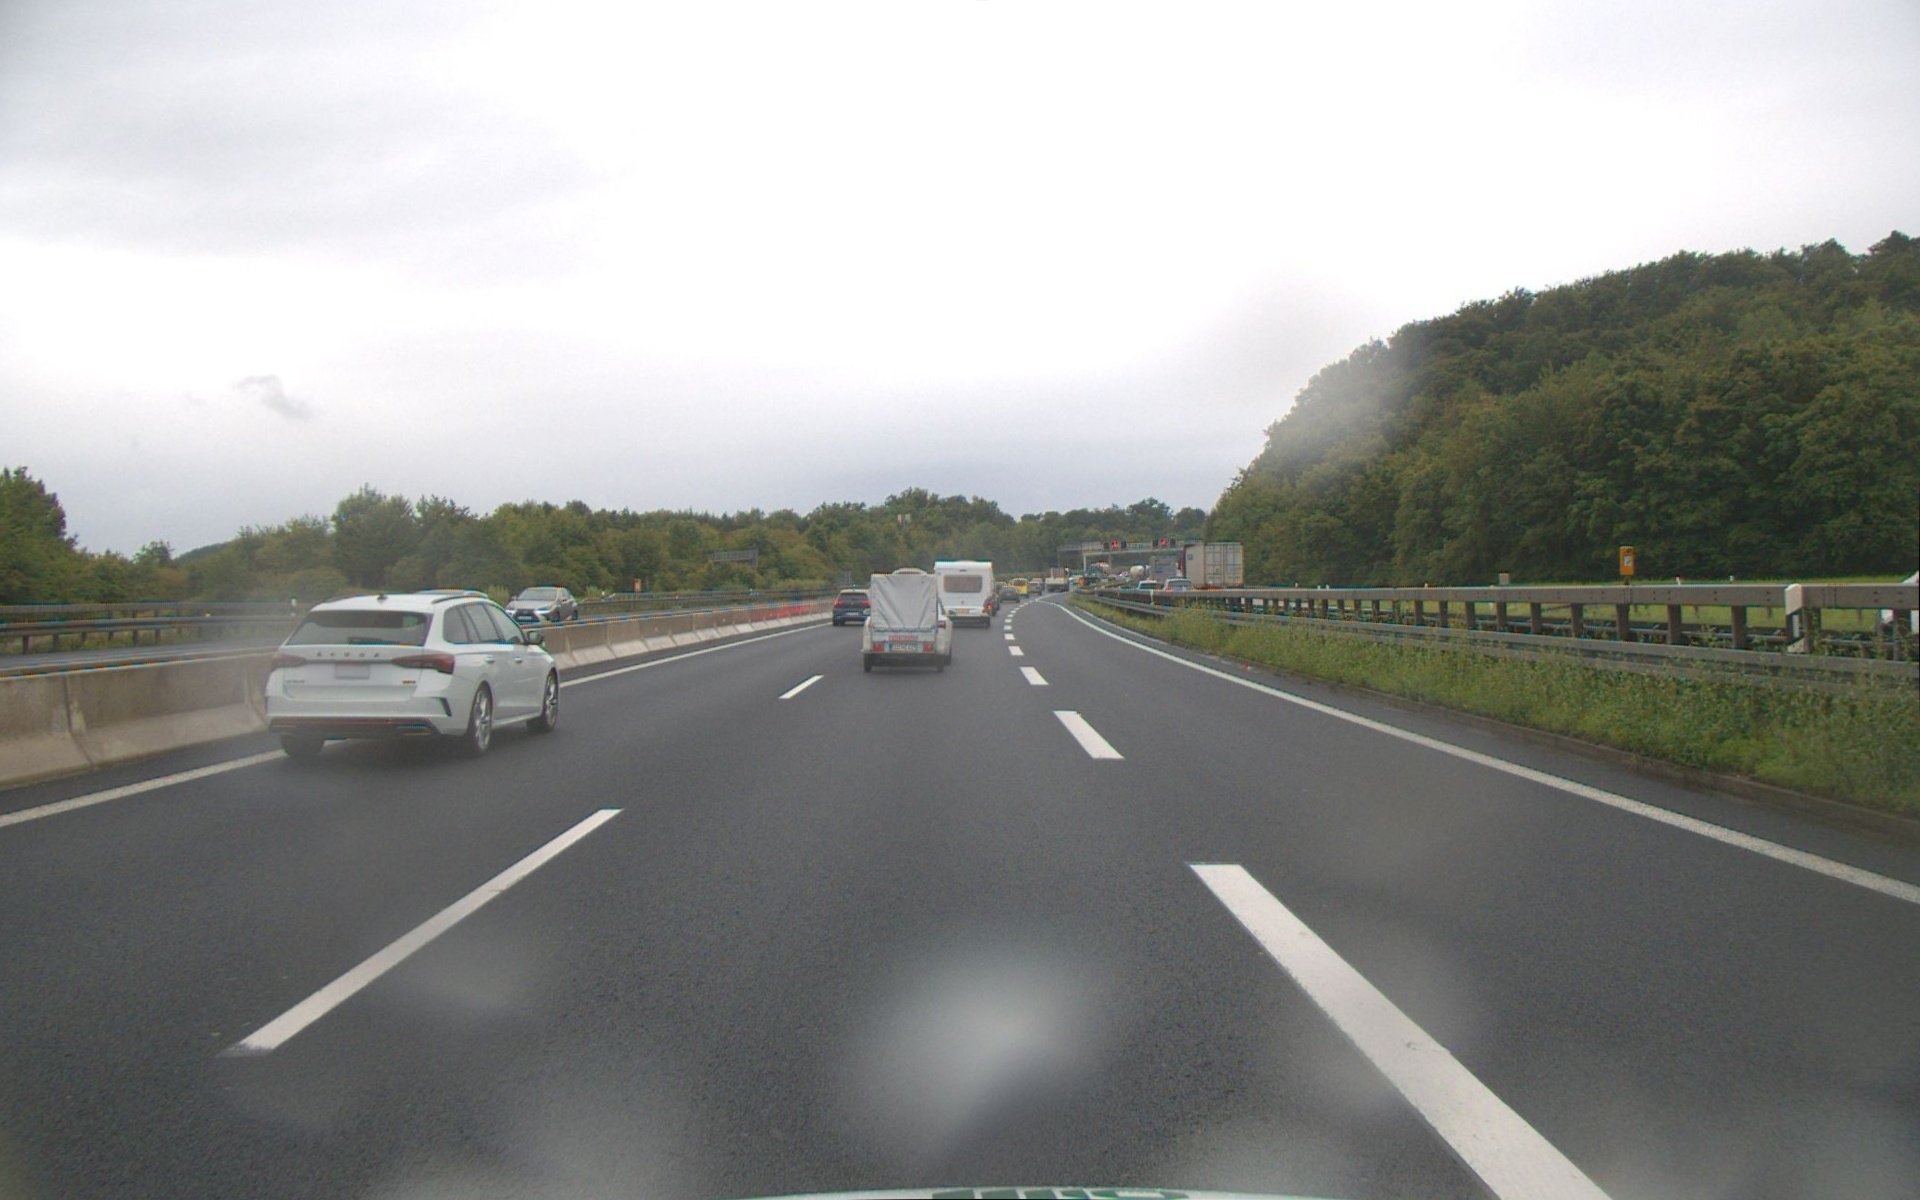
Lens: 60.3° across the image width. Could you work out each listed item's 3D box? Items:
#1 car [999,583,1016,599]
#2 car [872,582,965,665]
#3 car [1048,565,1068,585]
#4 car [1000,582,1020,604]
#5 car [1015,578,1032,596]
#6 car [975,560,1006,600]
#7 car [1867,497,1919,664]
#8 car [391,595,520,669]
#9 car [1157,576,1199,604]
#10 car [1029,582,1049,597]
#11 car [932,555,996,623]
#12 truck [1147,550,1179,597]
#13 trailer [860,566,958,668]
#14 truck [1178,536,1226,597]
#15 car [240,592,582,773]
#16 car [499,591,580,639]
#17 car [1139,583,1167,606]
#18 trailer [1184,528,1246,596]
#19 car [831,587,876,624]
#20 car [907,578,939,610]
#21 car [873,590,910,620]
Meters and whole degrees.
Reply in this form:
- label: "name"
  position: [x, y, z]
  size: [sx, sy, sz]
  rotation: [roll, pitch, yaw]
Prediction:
- label: "car"
  position: [6.306, -1.157, 218.686]
  size: [1.951, 2.049, 4.002]
  rotation: [-1, 0, 5]
- label: "car"
  position: [-0.829, 0.475, 35.632]
  size: [1.781, 1.644, 4.778]
  rotation: [-1, 0, 1]
- label: "car"
  position: [13.571, -3.470, 228.931]
  size: [2.462, 2.620, 5.315]
  rotation: [-1, 0, 6]
- label: "car"
  position: [4.347, -0.560, 143.259]
  size: [1.641, 1.844, 4.001]
  rotation: [-1, 0, 2]
- label: "car"
  position: [6.585, -1.314, 172.067]
  size: [1.641, 1.844, 4.002]
  rotation: [-1, 0, 3]
- label: "car"
  position: [1.692, -1.084, 90.252]
  size: [1.641, 2.103, 4.001]
  rotation: [-1, 0, 1]
- label: "car"
  position: [10.881, -0.189, 15.703]
  size: [1.870, 1.723, 4.718]
  rotation: [-1, 1, -1]
- label: "car"
  position: [-12.658, 0.778, 41.795]
  size: [1.953, 1.741, 4.302]
  rotation: [-1, 0, 0]
- label: "car"
  position: [11.759, -0.544, 89.327]
  size: [1.633, 1.407, 4.125]
  rotation: [-3, 0, 0]
- label: "car"
  position: [9.257, -1.207, 193.777]
  size: [1.994, 1.712, 4.003]
  rotation: [-1, 0, 7]
- label: "car"
  position: [0.178, -0.418, 66.927]
  size: [2.456, 2.630, 5.699]
  rotation: [-1, 0, 0]
- label: "truck"
  position: [21.874, -2.780, 178.395]
  size: [3.147, 4.748, 13.041]
  rotation: [-1, 0, 6]
- label: "trailer"
  position: [-0.932, 0.312, 32.128]
  size: [1.641, 1.844, 4.001]
  rotation: [-1, 0, 2]
- label: "truck"
  position: [16.396, -2.210, 112.259]
  size: [2.561, 3.952, 6.394]
  rotation: [-1, 0, 3]
- label: "car"
  position: [-5.111, 0.691, 16.148]
  size: [1.781, 1.481, 4.777]
  rotation: [-1, 0, -1]
- label: "car"
  position: [-15.530, 0.553, 61.284]
  size: [1.853, 1.679, 4.602]
  rotation: [-1, 0, 0]
- label: "car"
  position: [13.868, -0.373, 118.920]
  size: [1.733, 1.638, 4.645]
  rotation: [-1, 0, 3]
- label: "trailer"
  position: [16.154, -2.279, 105.375]
  size: [2.550, 3.962, 12.495]
  rotation: [-1, 0, 3]
- label: "car"
  position: [-4.393, 0.236, 68.557]
  size: [1.641, 1.481, 3.999]
  rotation: [-1, 0, -1]
- label: "car"
  position: [-2.288, -0.360, 103.443]
  size: [1.953, 1.952, 3.999]
  rotation: [-1, 0, 0]
- label: "car"
  position: [-3.581, 0.270, 86.650]
  size: [1.729, 1.481, 4.000]
  rotation: [-1, 0, 0]
